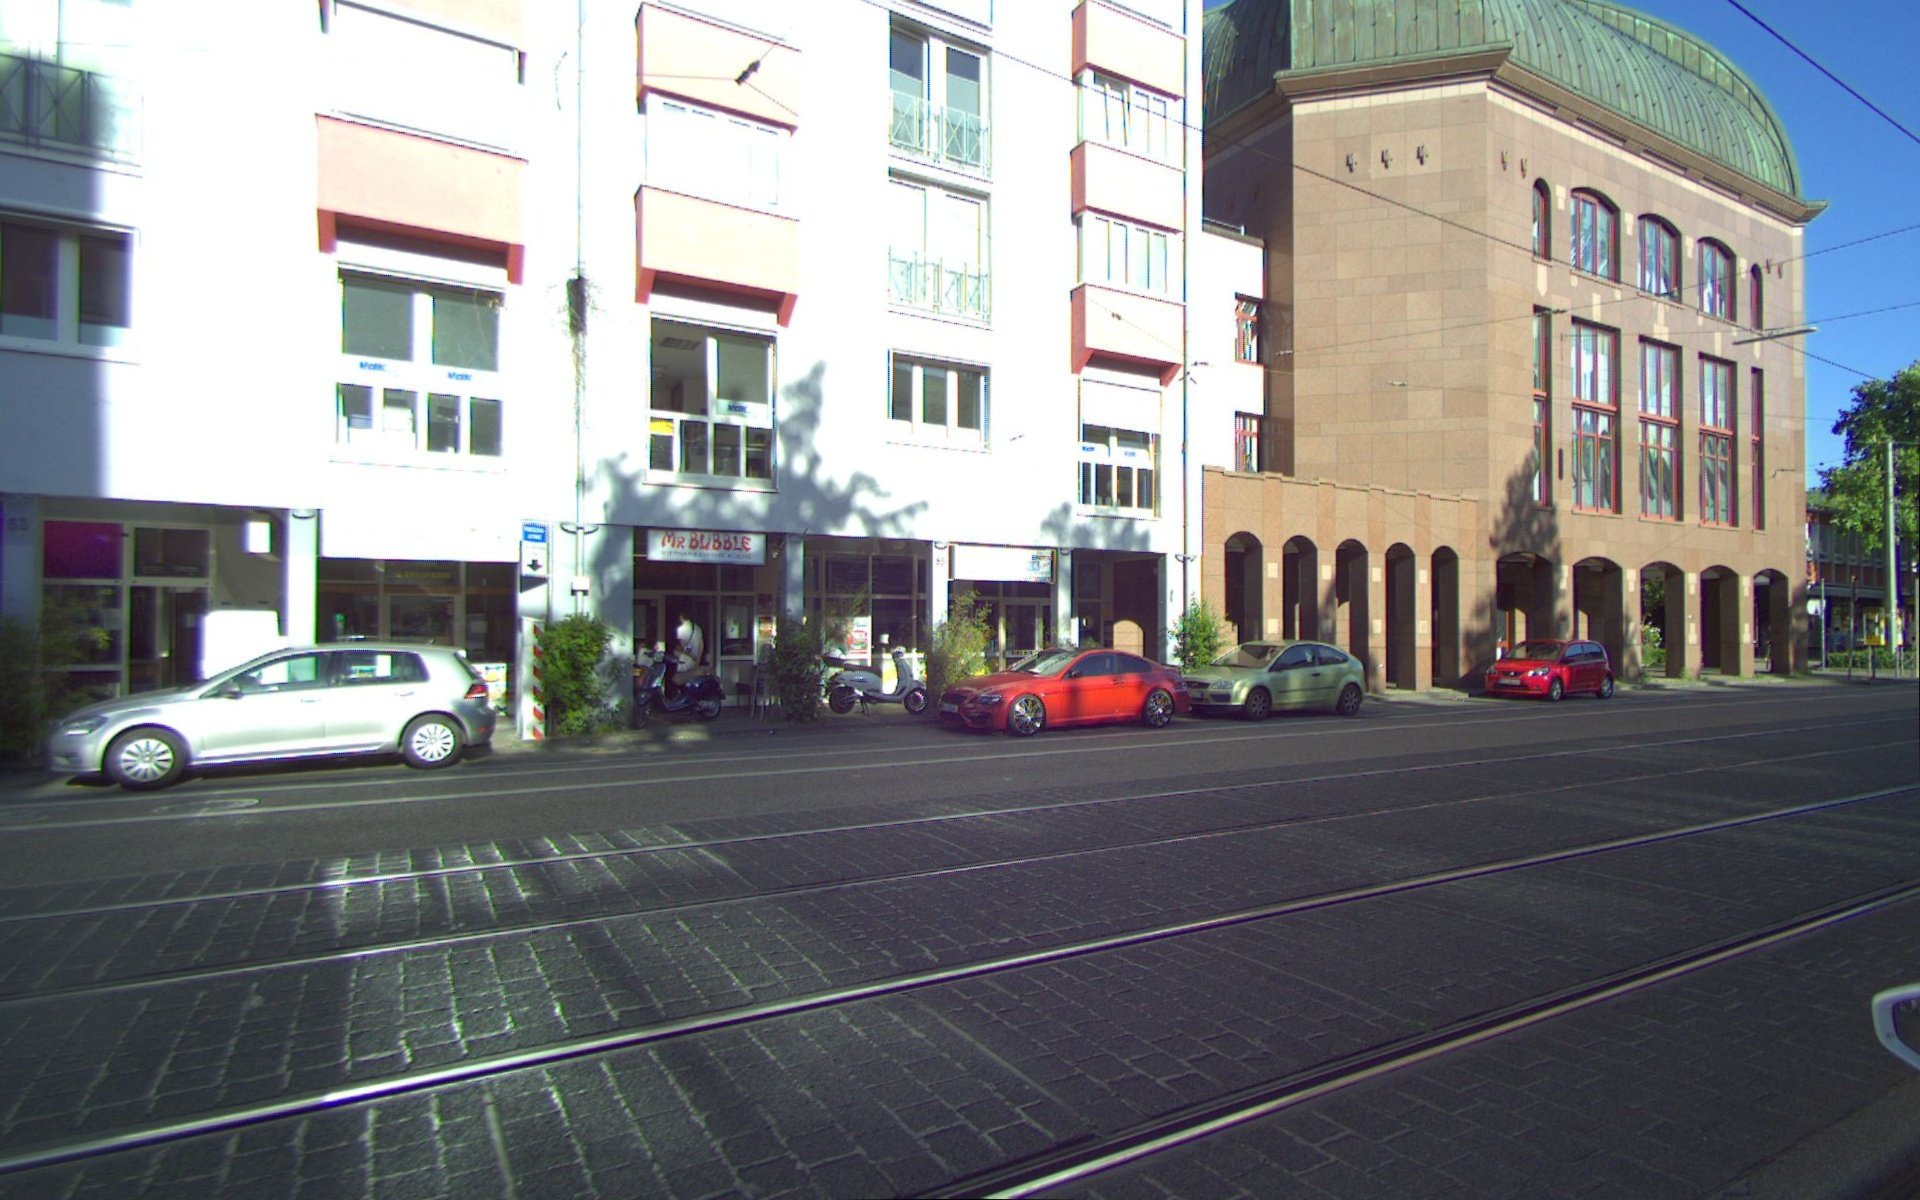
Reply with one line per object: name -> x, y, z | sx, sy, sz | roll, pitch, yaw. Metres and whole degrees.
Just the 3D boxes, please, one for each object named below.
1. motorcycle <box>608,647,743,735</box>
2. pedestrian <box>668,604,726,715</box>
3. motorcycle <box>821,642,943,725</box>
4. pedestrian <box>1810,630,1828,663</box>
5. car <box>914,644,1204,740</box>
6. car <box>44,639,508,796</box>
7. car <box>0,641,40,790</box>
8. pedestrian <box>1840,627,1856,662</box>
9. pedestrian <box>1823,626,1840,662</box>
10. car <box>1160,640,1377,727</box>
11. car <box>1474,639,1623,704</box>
motorcycle -> -4.336, 1.359, 15.441 | 0.455, 1.210, 2.071 | 1, 0, 42
pedestrian -> -4.599, 1.013, 17.532 | 0.711, 1.867, 0.813 | 0, 0, -39
motorcycle -> -1.308, 1.398, 17.125 | 2.058, 1.315, 0.516 | 1, 0, -31
pedestrian -> 49.579, 2.669, 57.986 | 0.666, 1.871, 0.623 | 1, 0, -33
car -> 1.765, 1.482, 17.253 | 4.766, 1.343, 1.950 | 1, 0, -31
car -> -7.655, 1.217, 11.686 | 4.162, 1.494, 1.741 | 1, -2, -33
car -> -11.878, 1.140, 9.192 | 4.771, 1.477, 1.892 | 1, -2, -31
pedestrian -> 47.002, 2.358, 53.160 | 0.583, 1.826, 0.541 | 1, 0, -39
pedestrian -> 46.452, 2.335, 53.544 | 0.533, 1.897, 0.586 | 1, 0, -39
car -> 6.117, 1.567, 19.767 | 4.240, 1.488, 1.661 | 1, 0, -31
car -> 14.600, 1.726, 24.894 | 3.578, 1.441, 1.651 | 1, 0, -30
